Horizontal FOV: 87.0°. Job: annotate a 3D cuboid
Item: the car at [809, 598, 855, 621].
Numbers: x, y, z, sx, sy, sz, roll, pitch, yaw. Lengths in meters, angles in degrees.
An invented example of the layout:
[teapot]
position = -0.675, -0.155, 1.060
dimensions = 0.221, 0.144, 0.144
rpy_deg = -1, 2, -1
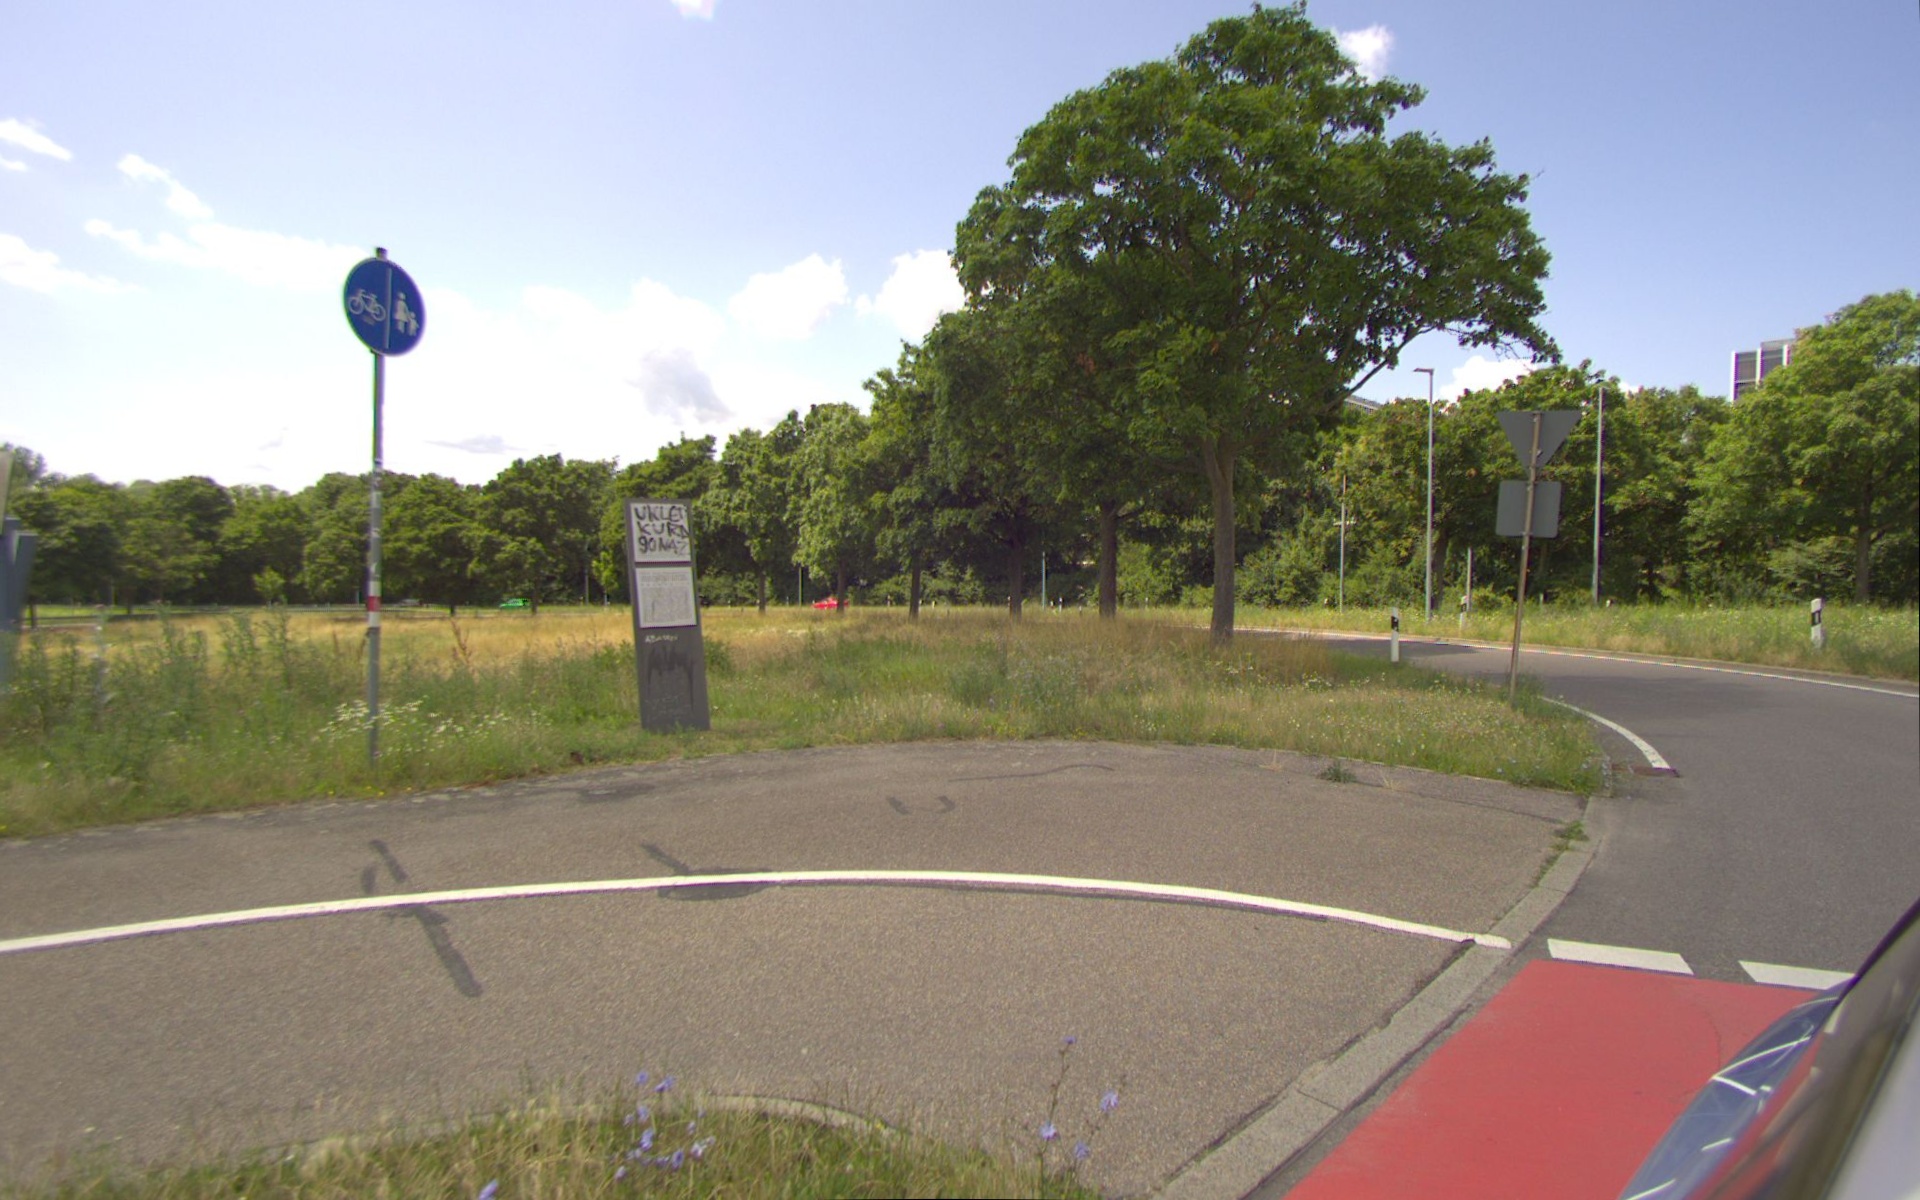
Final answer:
[car]
position = -11.841, 0.878, 93.612
dimensions = 3.977, 2.039, 1.973
rpy_deg = 0, 0, 37
